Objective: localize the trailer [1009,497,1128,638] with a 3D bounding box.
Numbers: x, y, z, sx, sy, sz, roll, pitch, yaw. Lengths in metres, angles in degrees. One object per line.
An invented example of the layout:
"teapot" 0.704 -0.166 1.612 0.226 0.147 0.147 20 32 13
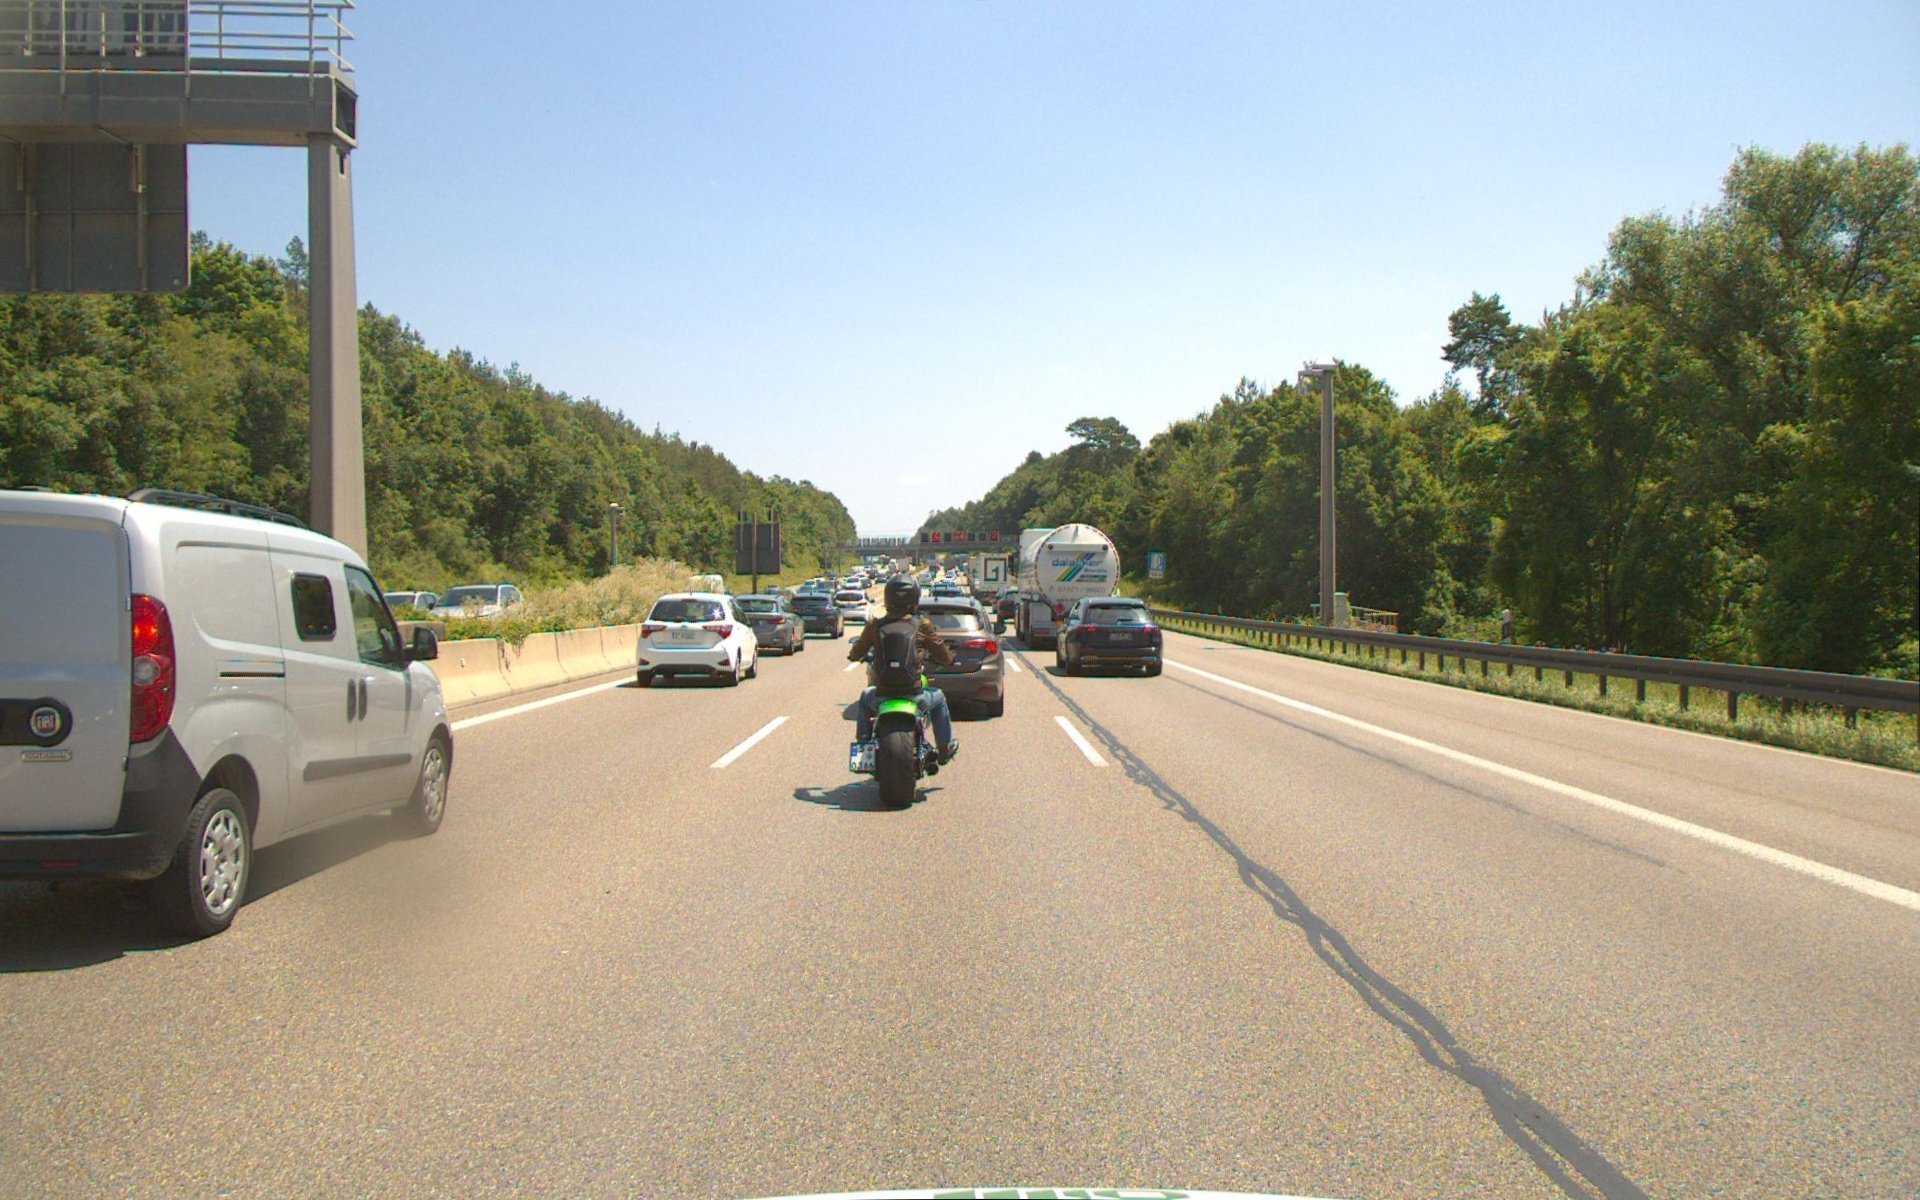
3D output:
"trailer" 3.067 -0.777 49.530 2.770 3.735 10.730 1 -1 0

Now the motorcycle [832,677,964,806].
"motorcycle" -0.439 1.048 12.749 0.917 0.807 2.298 1 0 0

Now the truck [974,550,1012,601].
"truck" 2.695 -1.907 132.749 2.794 3.888 7.189 1 -1 2

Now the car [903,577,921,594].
"car" -4.705 -1.426 162.968 1.626 1.627 4.000 0 -1 0

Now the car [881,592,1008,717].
"car" -0.193 0.660 21.813 1.509 1.476 3.999 1 0 0

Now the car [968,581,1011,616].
"car" 1.367 -0.040 77.423 1.740 1.554 3.997 1 -1 -3

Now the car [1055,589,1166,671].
"car" 2.929 0.602 33.018 1.755 1.484 4.623 1 -1 0

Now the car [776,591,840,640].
"car" -4.932 0.527 53.878 1.954 1.490 3.995 1 -1 -5

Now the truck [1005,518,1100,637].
"truck" 3.000 -0.653 55.311 2.770 3.735 6.428 1 -1 0

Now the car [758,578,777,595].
"car" -23.748 -1.635 203.704 1.953 2.049 3.999 1 0 -1

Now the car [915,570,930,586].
"car" -4.956 -2.860 219.585 1.953 2.049 3.999 0 0 0

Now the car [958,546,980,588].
"car" 0.909 -3.339 171.107 2.123 3.961 9.328 1 -1 0

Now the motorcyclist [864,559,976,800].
"motorcyclist" -0.288 0.579 12.395 0.782 1.717 1.016 1 -1 -1

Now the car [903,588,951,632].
"car" -1.389 0.446 70.146 1.953 1.806 3.999 1 -1 -1

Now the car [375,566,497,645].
"car" -14.287 0.144 45.327 1.953 2.049 4.272 0 0 0

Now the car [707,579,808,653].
"car" -4.962 0.409 41.060 1.953 1.713 4.329 1 -1 0

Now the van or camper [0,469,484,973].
"van or camper" -4.026 0.442 8.574 1.815 1.913 4.561 1 0 -1

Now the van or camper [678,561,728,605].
"van or camper" -15.621 -1.007 100.904 2.108 2.465 6.195 1 -1 0

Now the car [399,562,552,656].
"car" -11.221 0.180 38.720 1.953 2.049 5.387 0 0 0

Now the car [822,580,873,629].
"car" -4.872 0.217 72.044 1.953 2.049 3.999 1 -1 -1

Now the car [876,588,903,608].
"car" -5.215 -0.156 122.619 1.728 1.467 4.000 1 0 0

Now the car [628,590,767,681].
"car" -4.414 0.589 28.328 1.739 1.435 3.999 1 -1 0

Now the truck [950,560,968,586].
"truck" -0.152 -3.951 242.907 2.641 3.465 10.476 0 0 0

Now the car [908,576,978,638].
"car" -0.528 0.240 48.690 1.953 1.741 3.999 1 -1 -1
